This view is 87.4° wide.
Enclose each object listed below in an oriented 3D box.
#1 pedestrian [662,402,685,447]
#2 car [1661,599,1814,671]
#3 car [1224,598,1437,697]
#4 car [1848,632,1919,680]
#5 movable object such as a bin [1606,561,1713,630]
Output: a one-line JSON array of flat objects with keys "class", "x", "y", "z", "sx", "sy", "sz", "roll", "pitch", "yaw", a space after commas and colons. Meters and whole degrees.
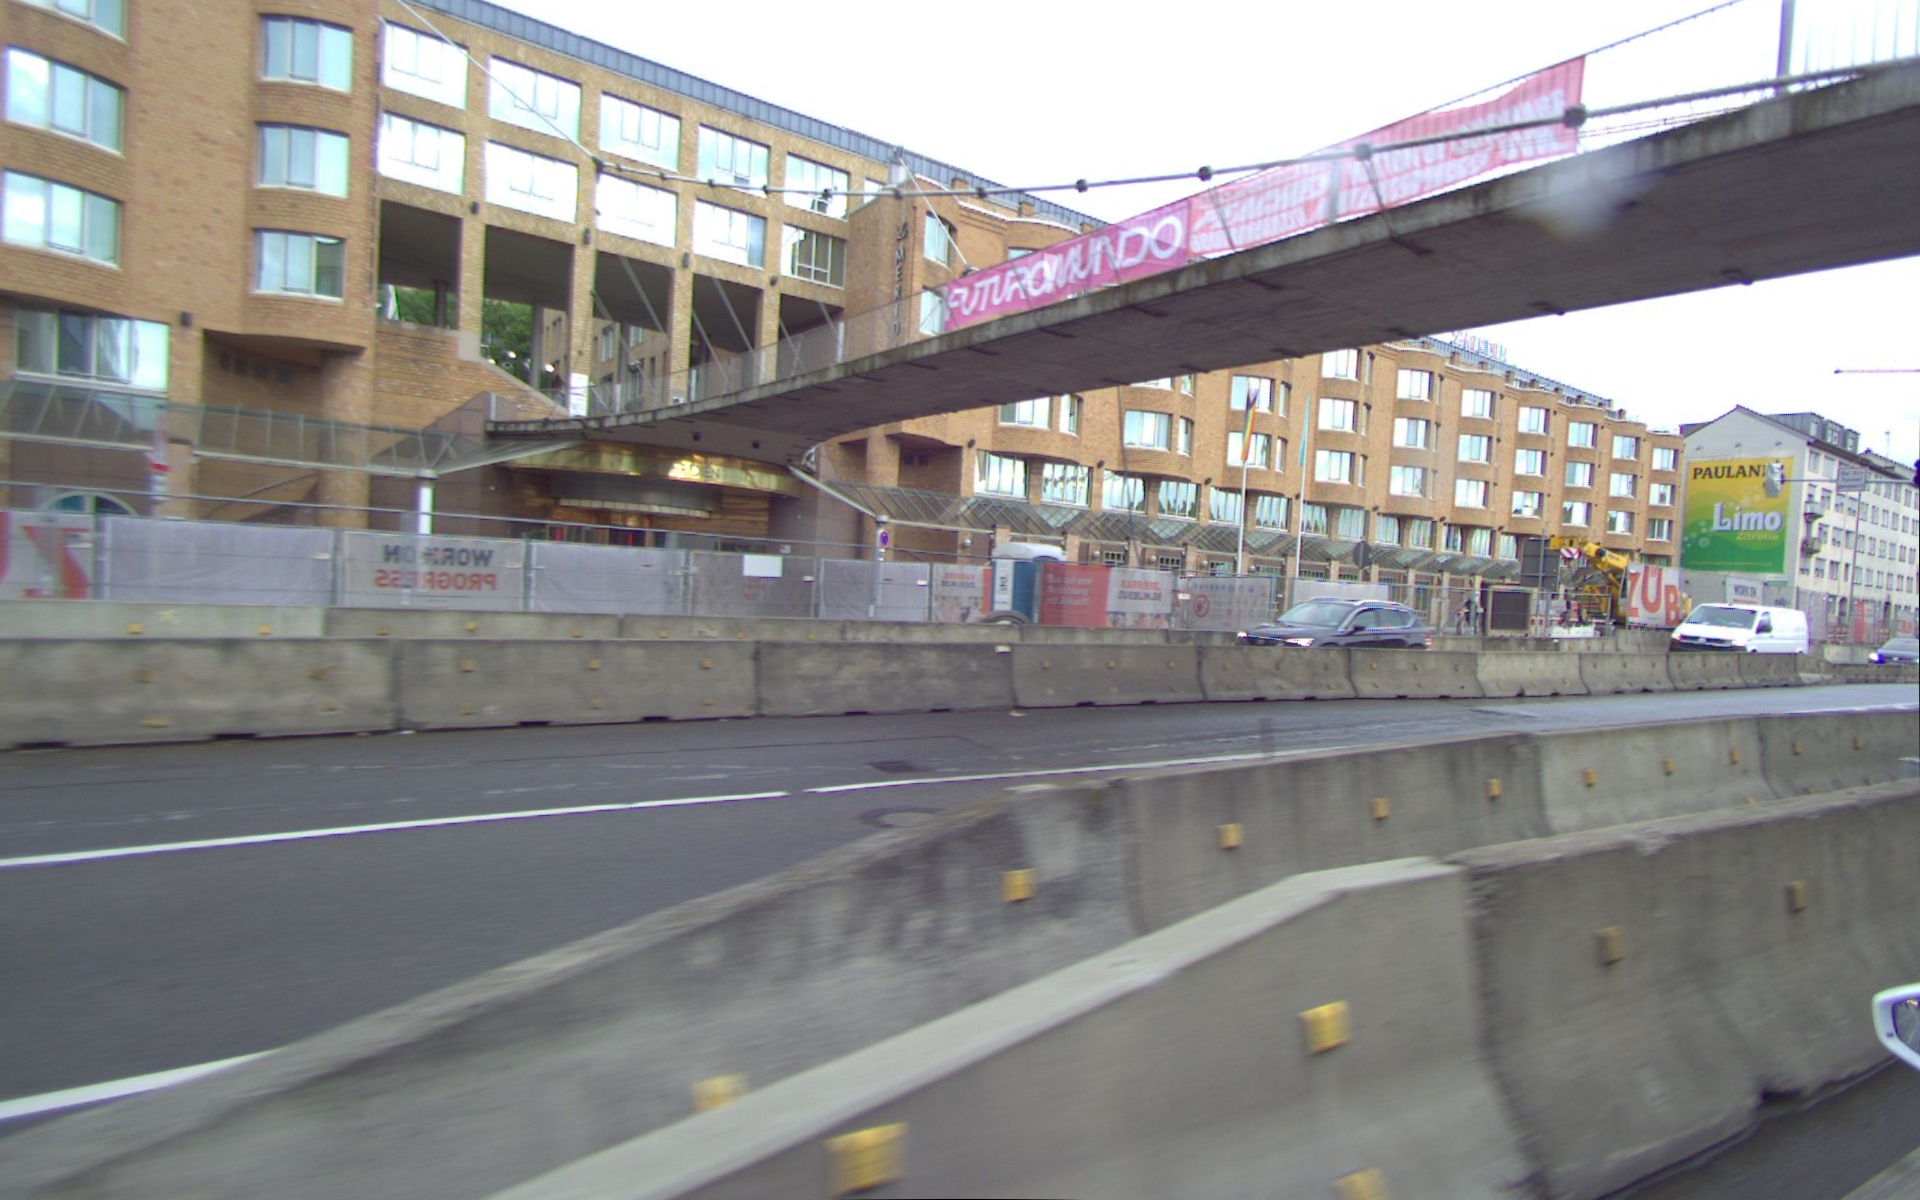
[{"class": "pedestrian", "x": -10.402, "y": -6.361, "z": 36.438, "sx": 0.611, "sy": 1.471, "sz": 0.617, "roll": 2, "pitch": 1, "yaw": -31}, {"class": "car", "x": 22.616, "y": 0.985, "z": 29.143, "sx": 5.243, "sy": 1.846, "sz": 1.795, "roll": 1, "pitch": 2, "yaw": -33}, {"class": "car", "x": 7.081, "y": 0.855, "z": 19.130, "sx": 3.860, "sy": 1.645, "sz": 1.795, "roll": 1, "pitch": 2, "yaw": -32}, {"class": "car", "x": 36.016, "y": 2.117, "z": 38.551, "sx": 3.989, "sy": 1.645, "sz": 1.795, "roll": 1, "pitch": 2, "yaw": -32}, {"class": "movable object such as a bin", "x": 25.351, "y": -0.095, "z": 36.360, "sx": 4.254, "sy": 2.307, "sz": 2.011, "roll": 2, "pitch": -2, "yaw": -38}]
